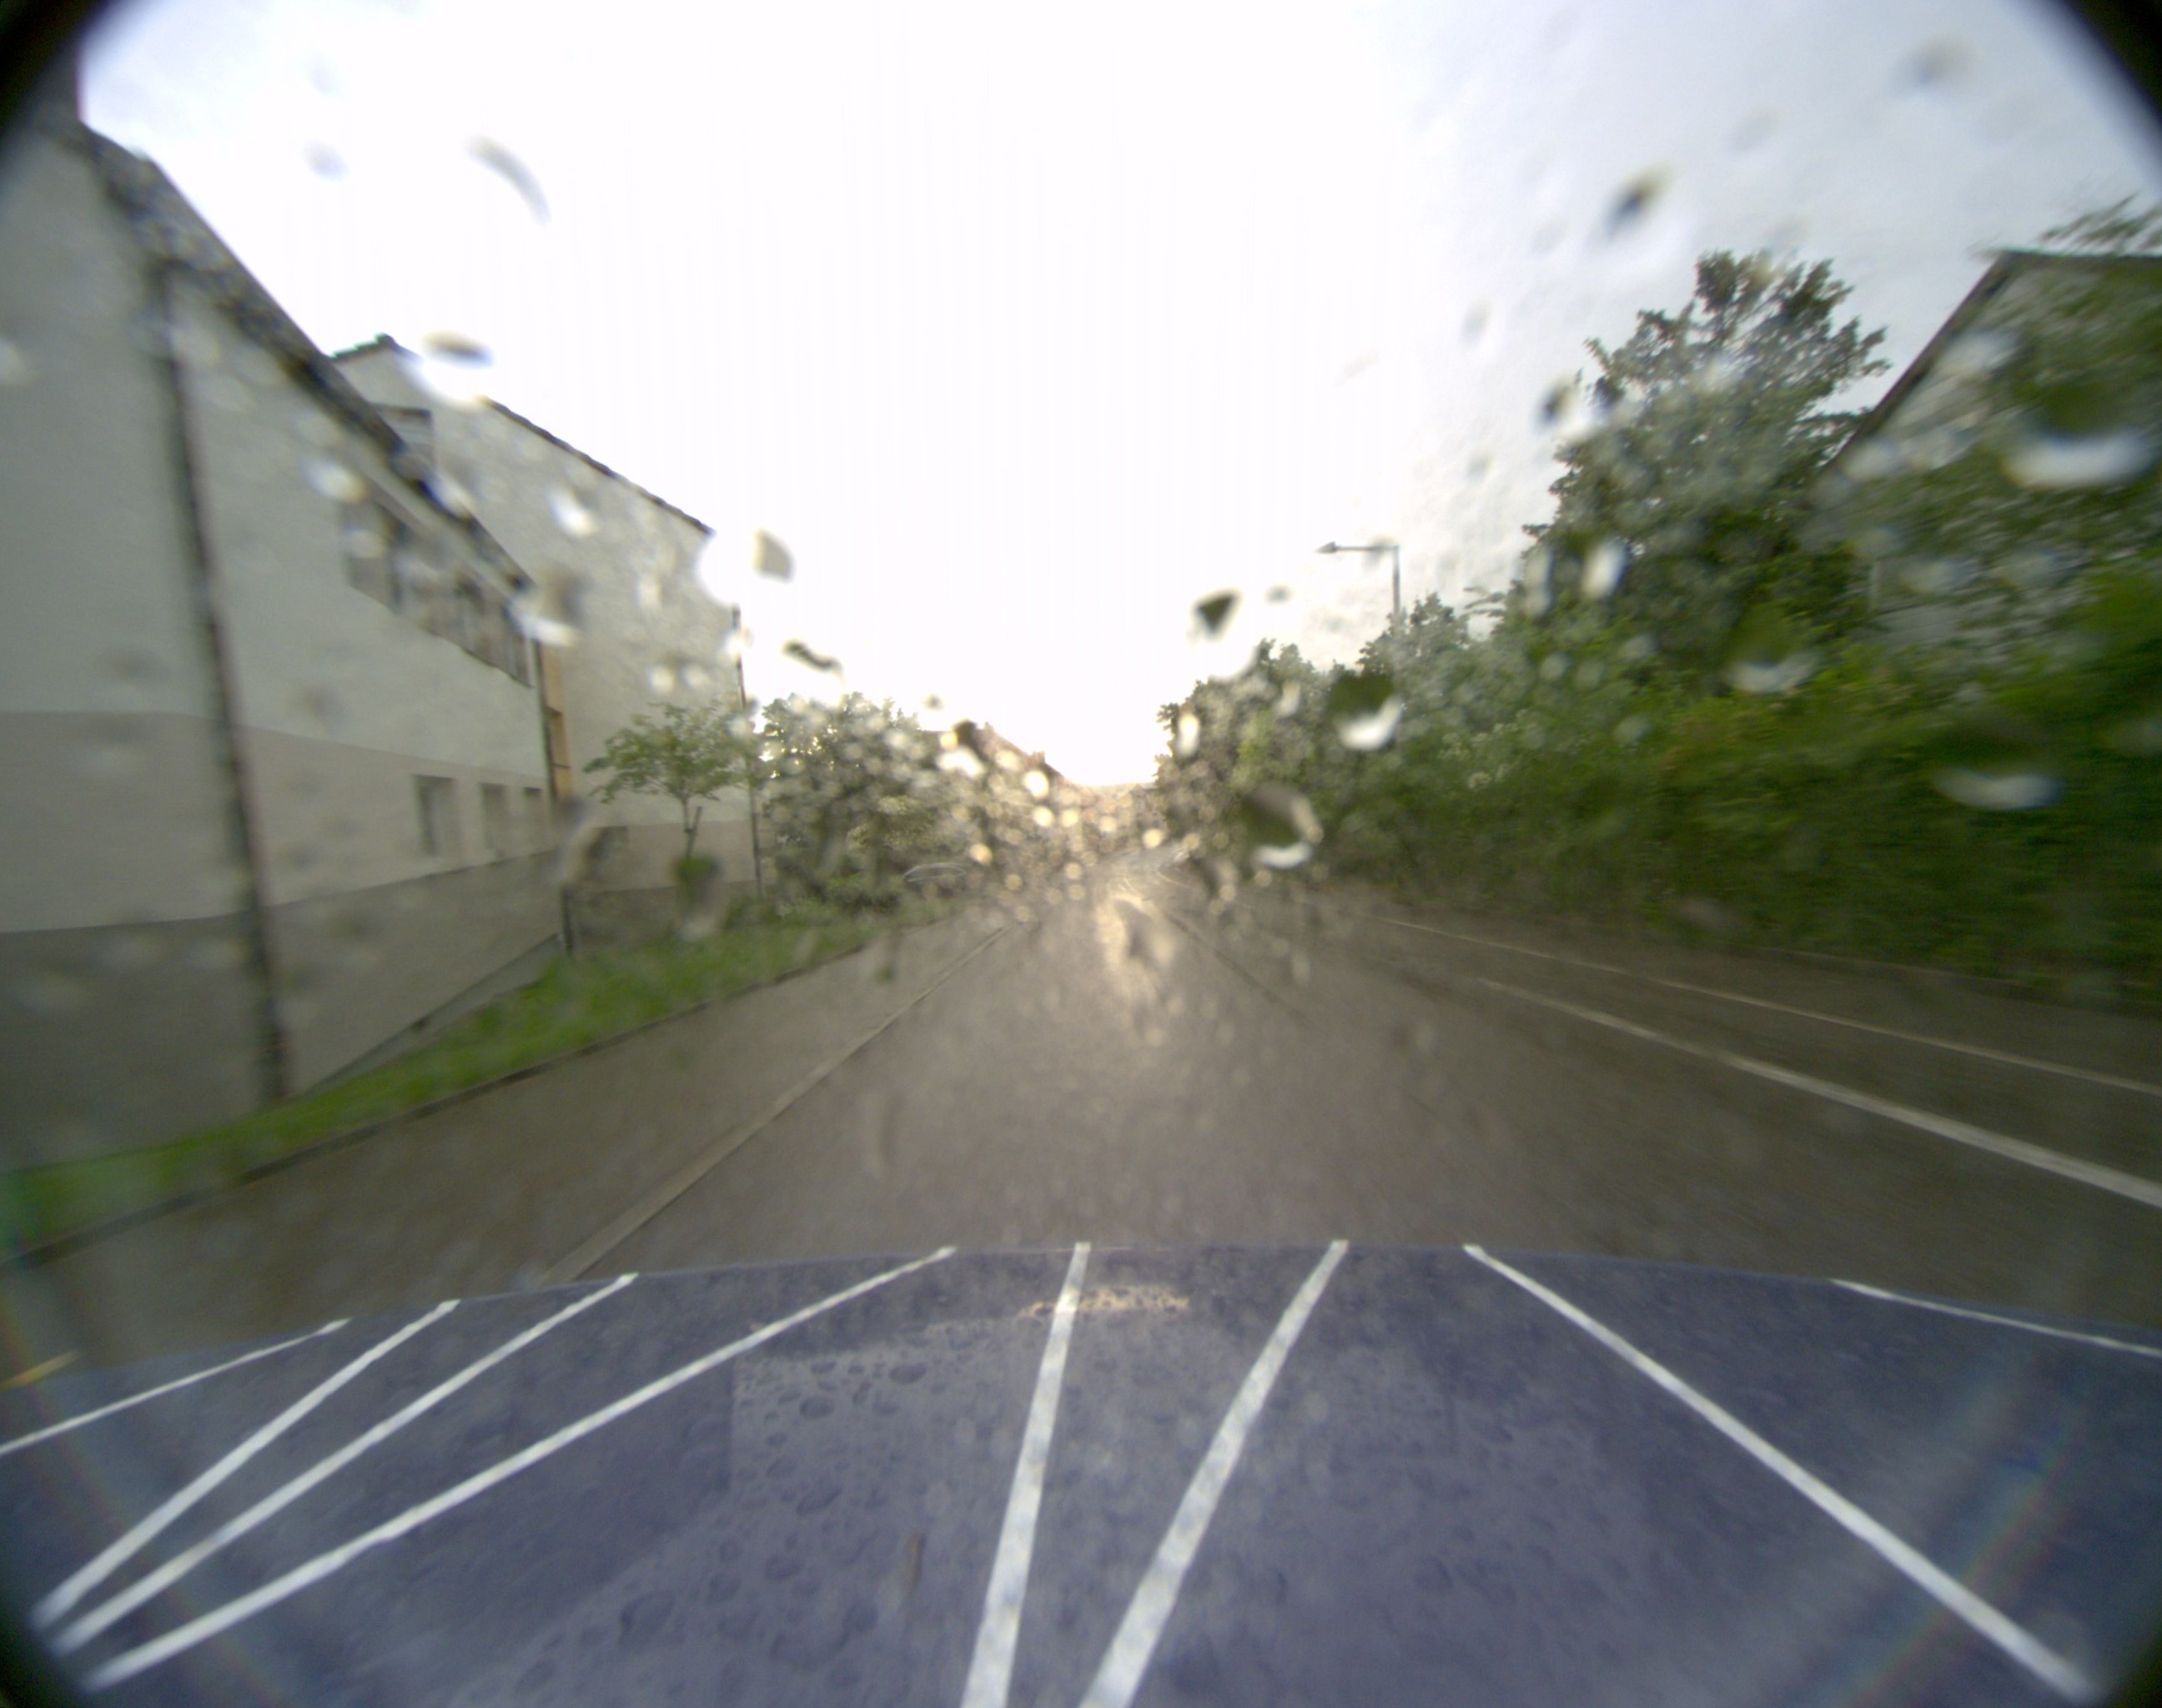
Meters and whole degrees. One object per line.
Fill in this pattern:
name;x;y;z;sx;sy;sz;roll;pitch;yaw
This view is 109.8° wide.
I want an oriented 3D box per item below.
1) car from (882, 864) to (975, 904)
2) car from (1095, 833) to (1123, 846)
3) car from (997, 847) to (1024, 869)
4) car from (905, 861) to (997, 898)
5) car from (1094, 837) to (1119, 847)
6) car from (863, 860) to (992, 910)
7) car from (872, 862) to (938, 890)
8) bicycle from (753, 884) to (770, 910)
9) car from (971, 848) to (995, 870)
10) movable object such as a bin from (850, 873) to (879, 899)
car;-6.280;1.222;31.556;3.447;1.488;1.667;-2;0;0
car;4.344;-2.264;116.798;3.937;1.772;1.767;-2;4;-14
car;-6.169;0.321;66.346;1.725;1.555;3.787;-1;4;-16
car;-5.766;1.134;34.016;3.753;1.450;1.724;-2;0;0
car;3.839;-1.878;114.323;3.528;1.332;1.684;-2;4;-16
car;-5.722;1.147;28.770;4.539;1.651;1.855;-2;0;-5
car;-11.385;1.404;49.322;3.709;1.424;1.795;-3;4;2
bicycle;-13.290;1.760;31.553;0.573;0.984;1.679;-4;1;-24
car;-8.456;0.372;65.356;1.797;1.585;4.249;-1;4;-11
movable object such as a bin;-12.729;1.875;44.694;1.140;1.386;1.119;-5;1;5
